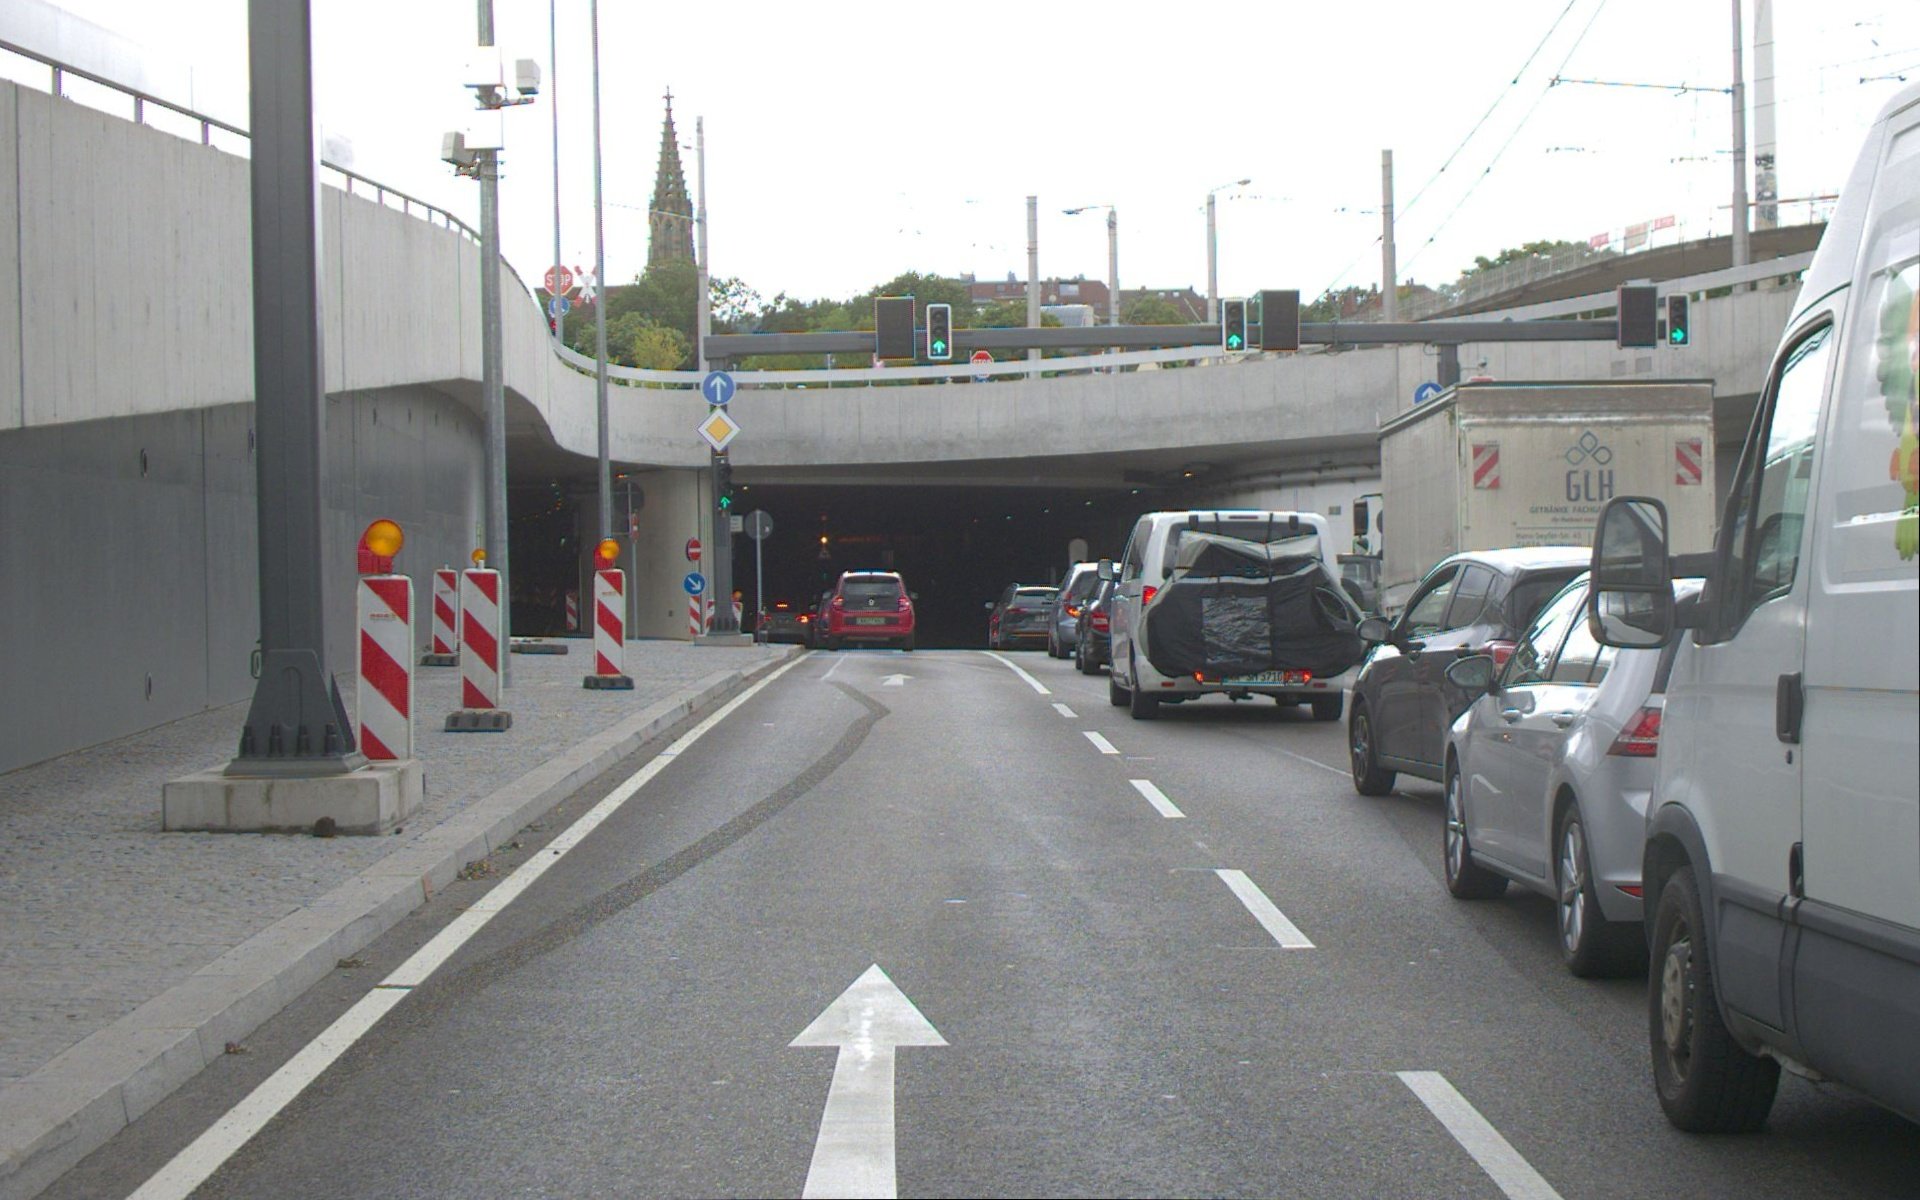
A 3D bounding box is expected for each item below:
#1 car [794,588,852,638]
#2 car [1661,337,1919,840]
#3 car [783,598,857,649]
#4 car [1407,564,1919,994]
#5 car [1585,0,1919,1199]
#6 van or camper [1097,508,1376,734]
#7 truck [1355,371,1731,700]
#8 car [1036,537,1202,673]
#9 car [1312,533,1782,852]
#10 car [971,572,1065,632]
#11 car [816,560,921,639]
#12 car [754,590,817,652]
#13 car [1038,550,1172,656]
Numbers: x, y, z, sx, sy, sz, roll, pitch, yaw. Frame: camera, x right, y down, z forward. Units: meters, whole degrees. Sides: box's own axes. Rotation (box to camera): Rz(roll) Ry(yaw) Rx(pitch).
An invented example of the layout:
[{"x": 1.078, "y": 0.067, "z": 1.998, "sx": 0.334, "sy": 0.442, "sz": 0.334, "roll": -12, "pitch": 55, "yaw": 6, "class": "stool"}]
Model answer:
[{"x": -5.158, "y": 0.482, "z": 129.174, "sx": 1.993, "sy": 1.767, "sz": 4.001, "roll": 0, "pitch": 1, "yaw": -5, "class": "car"}, {"x": 6.251, "y": -0.116, "z": 21.489, "sx": 2.075, "sy": 2.763, "sz": 7.327, "roll": 0, "pitch": 1, "yaw": -1, "class": "car"}, {"x": -3.513, "y": 0.604, "z": 85.838, "sx": 1.508, "sy": 1.243, "sz": 3.568, "roll": 0, "pitch": -1, "yaw": -7, "class": "car"}, {"x": 2.888, "y": 0.569, "z": 13.112, "sx": 1.763, "sy": 1.378, "sz": 4.039, "roll": 0, "pitch": 0, "yaw": -1, "class": "car"}, {"x": 2.826, "y": 0.095, "z": 6.438, "sx": 2.058, "sy": 2.619, "sz": 5.942, "roll": 3, "pitch": 0, "yaw": 0, "class": "car"}, {"x": 2.403, "y": 0.227, "z": 31.268, "sx": 1.993, "sy": 1.839, "sz": 5.508, "roll": 1, "pitch": -1, "yaw": -1, "class": "van or camper"}, {"x": 6.103, "y": -0.643, "z": 37.180, "sx": 2.649, "sy": 3.174, "sz": 7.426, "roll": -1, "pitch": 0, "yaw": -1, "class": "truck"}, {"x": 2.056, "y": 0.029, "z": 45.441, "sx": 1.818, "sy": 1.678, "sz": 4.001, "roll": 1, "pitch": 1, "yaw": -2, "class": "car"}, {"x": 3.120, "y": 0.430, "z": 18.992, "sx": 1.681, "sy": 1.539, "sz": 3.693, "roll": 1, "pitch": 1, "yaw": -4, "class": "car"}, {"x": 1.203, "y": 0.061, "z": 73.207, "sx": 1.663, "sy": 1.243, "sz": 3.567, "roll": 0, "pitch": -1, "yaw": -4, "class": "car"}, {"x": -1.801, "y": 0.010, "z": 66.446, "sx": 1.660, "sy": 1.483, "sz": 3.568, "roll": 0, "pitch": -1, "yaw": -7, "class": "car"}, {"x": -5.861, "y": 0.698, "z": 116.032, "sx": 1.993, "sy": 2.007, "sz": 4.000, "roll": 0, "pitch": 1, "yaw": -1, "class": "car"}, {"x": 2.355, "y": 0.039, "z": 56.768, "sx": 1.818, "sy": 1.575, "sz": 4.000, "roll": 3, "pitch": 0, "yaw": -2, "class": "car"}]
